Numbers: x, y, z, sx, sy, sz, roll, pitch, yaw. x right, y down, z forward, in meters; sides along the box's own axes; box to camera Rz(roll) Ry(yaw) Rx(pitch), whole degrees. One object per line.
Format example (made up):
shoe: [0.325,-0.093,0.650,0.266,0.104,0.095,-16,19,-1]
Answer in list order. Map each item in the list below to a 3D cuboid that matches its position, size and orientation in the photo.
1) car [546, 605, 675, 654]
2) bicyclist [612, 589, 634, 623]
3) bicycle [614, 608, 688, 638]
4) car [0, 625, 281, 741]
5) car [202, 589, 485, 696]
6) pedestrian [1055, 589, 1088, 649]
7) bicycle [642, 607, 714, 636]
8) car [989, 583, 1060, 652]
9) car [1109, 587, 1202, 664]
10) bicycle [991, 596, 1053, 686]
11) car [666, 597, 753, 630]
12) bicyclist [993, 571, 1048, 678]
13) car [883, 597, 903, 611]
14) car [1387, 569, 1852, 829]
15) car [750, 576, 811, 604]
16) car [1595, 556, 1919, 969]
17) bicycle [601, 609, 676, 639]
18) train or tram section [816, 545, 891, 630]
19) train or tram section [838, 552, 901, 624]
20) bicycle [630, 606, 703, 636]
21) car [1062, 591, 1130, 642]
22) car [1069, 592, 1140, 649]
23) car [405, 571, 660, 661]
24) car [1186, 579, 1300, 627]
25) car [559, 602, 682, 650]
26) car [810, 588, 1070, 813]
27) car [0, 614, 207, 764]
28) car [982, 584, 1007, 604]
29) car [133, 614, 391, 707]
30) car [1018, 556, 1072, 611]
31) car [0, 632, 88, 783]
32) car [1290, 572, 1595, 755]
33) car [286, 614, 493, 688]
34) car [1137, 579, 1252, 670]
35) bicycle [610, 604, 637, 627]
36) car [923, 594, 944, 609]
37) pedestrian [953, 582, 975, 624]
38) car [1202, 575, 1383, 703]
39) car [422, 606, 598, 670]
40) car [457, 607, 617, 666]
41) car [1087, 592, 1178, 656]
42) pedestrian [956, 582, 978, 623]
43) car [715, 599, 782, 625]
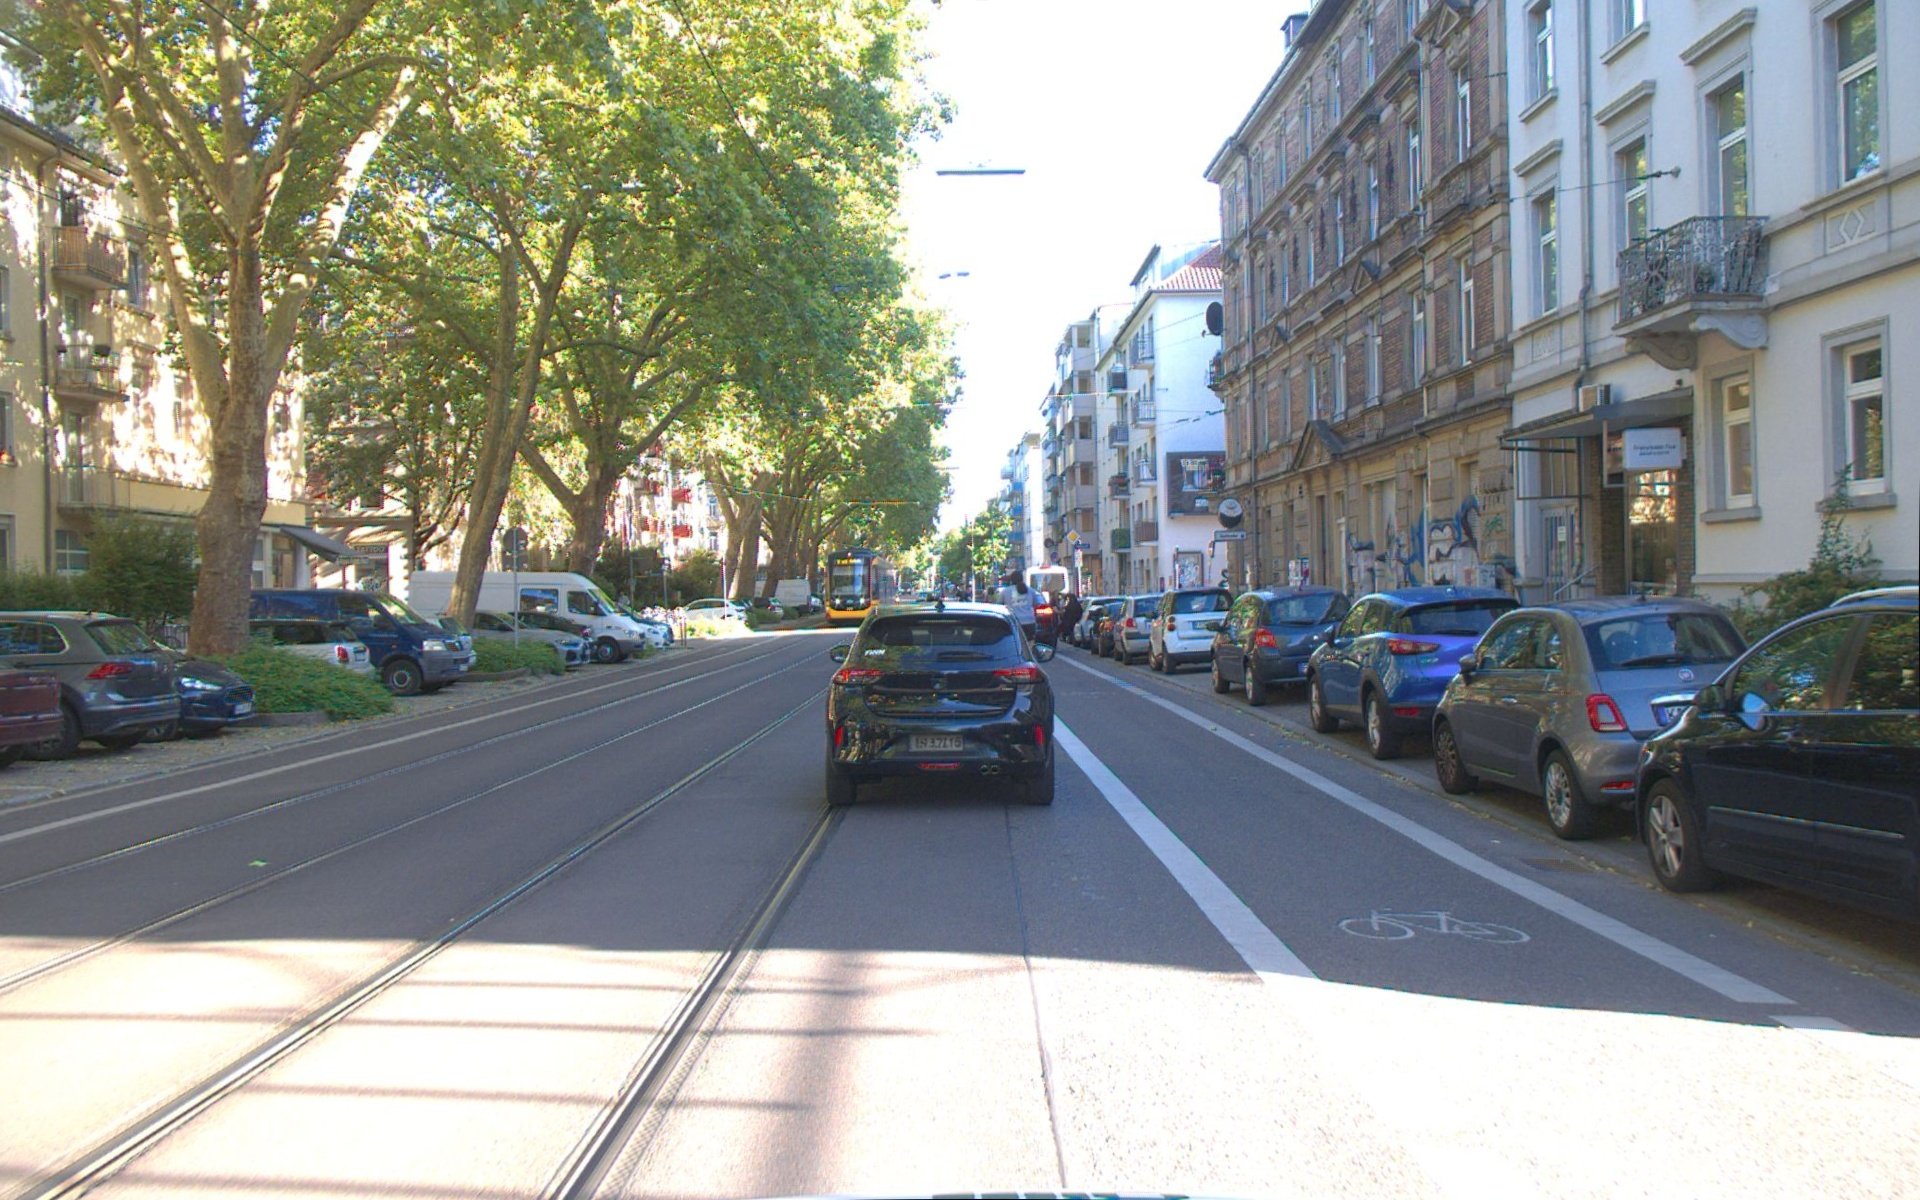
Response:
car: [-11.158,0.928,52.969,3.842,1.524,1.676,0,0,-4]
bicyclist: [-18.336,0.320,89.996,0.967,1.787,1.154,-1,0,-3]
bicycle: [-12.855,0.976,68.794,2.880,1.190,0.991,-1,0,16]
car: [-11.274,1.068,21.867,3.841,1.446,1.818,0,0,-3]
car: [-11.555,0.775,31.232,4.579,1.957,1.980,0,0,0]
pedestrian: [3.063,0.517,45.415,0.848,1.594,0.768,-1,0,2]
bicycle: [-12.062,0.926,70.875,2.880,1.190,0.991,-1,0,16]
car: [1.729,0.452,45.403,1.773,1.772,3.933,-2,0,0]
car: [4.305,0.523,36.849,1.670,1.481,3.698,-5,0,2]
bicycle: [1.021,0.660,27.891,0.843,1.431,2.523,-1,0,-2]
car: [-11.692,0.614,77.337,3.842,1.524,1.676,0,0,-4]
bicyclist: [1.012,0.403,27.951,0.831,1.770,1.161,-1,0,-2]
car: [-6.564,0.378,163.225,1.772,1.361,3.933,-1,0,0]
car: [4.636,0.617,12.286,1.763,1.481,3.767,-5,0,-2]
car: [-11.685,-0.630,107.804,3.842,1.821,1.676,0,0,-4]
car: [4.757,0.630,7.708,1.843,1.613,3.931,-5,0,-2]
bicycle: [-13.114,0.986,67.471,2.880,1.190,0.991,-1,0,16]
train or tram section: [-5.119,-0.596,81.647,2.679,3.746,12.716,-2,0,0]
train or tram section: [-5.045,-0.643,94.317,2.679,3.746,12.716,-2,0,0]
bicycle: [-12.401,0.897,69.890,2.880,1.190,0.991,-1,0,16]
car: [4.282,0.502,52.602,1.773,1.403,3.933,-5,0,0]
car: [4.138,0.553,47.865,1.628,1.444,3.933,-5,0,0]
car: [-11.871,0.437,46.326,6.493,2.451,2.457,0,0,-1]
car: [11.489,0.126,67.327,4.289,1.829,1.876,-1,0,-2]
car: [-11.345,0.858,55.430,3.842,1.605,1.676,0,0,-4]
car: [-0.165,0.674,13.073,1.757,1.466,3.531,-1,1,-1]
car: [-11.232,1.000,19.408,3.913,1.655,1.879,0,0,-1]
car: [2.571,-0.452,124.688,1.773,1.361,3.933,-5,0,0]
car: [-11.873,1.006,28.299,3.658,1.524,1.746,0,0,-1]
car: [3.801,-0.725,74.437,2.033,2.257,4.933,-5,0,0]
car: [-11.430,1.075,17.140,3.840,1.467,1.748,0,0,-1]
car: [4.714,0.558,16.784,1.842,1.481,4.026,-5,0,0]
car: [-11.648,1.028,33.934,3.658,1.455,1.637,0,0,-1]
car: [4.453,0.452,31.798,1.536,1.543,3.038,-5,0,-3]
bicycle: [-18.323,0.855,90.006,0.967,1.190,2.951,-1,0,-3]
car: [-2.427,0.144,150.521,1.773,1.361,3.931,-1,0,-2]
pedestrian: [0.160,0.108,63.912,0.664,1.594,0.769,-1,0,15]
car: [4.560,0.500,23.205,1.676,1.509,3.764,-5,0,0]
car: [-11.022,0.916,40.653,3.839,1.524,1.677,0,0,0]
car: [-11.171,0.955,43.858,3.842,1.524,1.676,0,0,-4]
car: [4.247,0.570,41.250,1.773,1.361,3.933,-5,0,0]
pedestrian: [0.269,0.103,64.729,0.664,1.594,0.769,-1,0,15]
car: [-12.568,0.718,98.391,3.842,1.524,1.676,0,0,-4]
